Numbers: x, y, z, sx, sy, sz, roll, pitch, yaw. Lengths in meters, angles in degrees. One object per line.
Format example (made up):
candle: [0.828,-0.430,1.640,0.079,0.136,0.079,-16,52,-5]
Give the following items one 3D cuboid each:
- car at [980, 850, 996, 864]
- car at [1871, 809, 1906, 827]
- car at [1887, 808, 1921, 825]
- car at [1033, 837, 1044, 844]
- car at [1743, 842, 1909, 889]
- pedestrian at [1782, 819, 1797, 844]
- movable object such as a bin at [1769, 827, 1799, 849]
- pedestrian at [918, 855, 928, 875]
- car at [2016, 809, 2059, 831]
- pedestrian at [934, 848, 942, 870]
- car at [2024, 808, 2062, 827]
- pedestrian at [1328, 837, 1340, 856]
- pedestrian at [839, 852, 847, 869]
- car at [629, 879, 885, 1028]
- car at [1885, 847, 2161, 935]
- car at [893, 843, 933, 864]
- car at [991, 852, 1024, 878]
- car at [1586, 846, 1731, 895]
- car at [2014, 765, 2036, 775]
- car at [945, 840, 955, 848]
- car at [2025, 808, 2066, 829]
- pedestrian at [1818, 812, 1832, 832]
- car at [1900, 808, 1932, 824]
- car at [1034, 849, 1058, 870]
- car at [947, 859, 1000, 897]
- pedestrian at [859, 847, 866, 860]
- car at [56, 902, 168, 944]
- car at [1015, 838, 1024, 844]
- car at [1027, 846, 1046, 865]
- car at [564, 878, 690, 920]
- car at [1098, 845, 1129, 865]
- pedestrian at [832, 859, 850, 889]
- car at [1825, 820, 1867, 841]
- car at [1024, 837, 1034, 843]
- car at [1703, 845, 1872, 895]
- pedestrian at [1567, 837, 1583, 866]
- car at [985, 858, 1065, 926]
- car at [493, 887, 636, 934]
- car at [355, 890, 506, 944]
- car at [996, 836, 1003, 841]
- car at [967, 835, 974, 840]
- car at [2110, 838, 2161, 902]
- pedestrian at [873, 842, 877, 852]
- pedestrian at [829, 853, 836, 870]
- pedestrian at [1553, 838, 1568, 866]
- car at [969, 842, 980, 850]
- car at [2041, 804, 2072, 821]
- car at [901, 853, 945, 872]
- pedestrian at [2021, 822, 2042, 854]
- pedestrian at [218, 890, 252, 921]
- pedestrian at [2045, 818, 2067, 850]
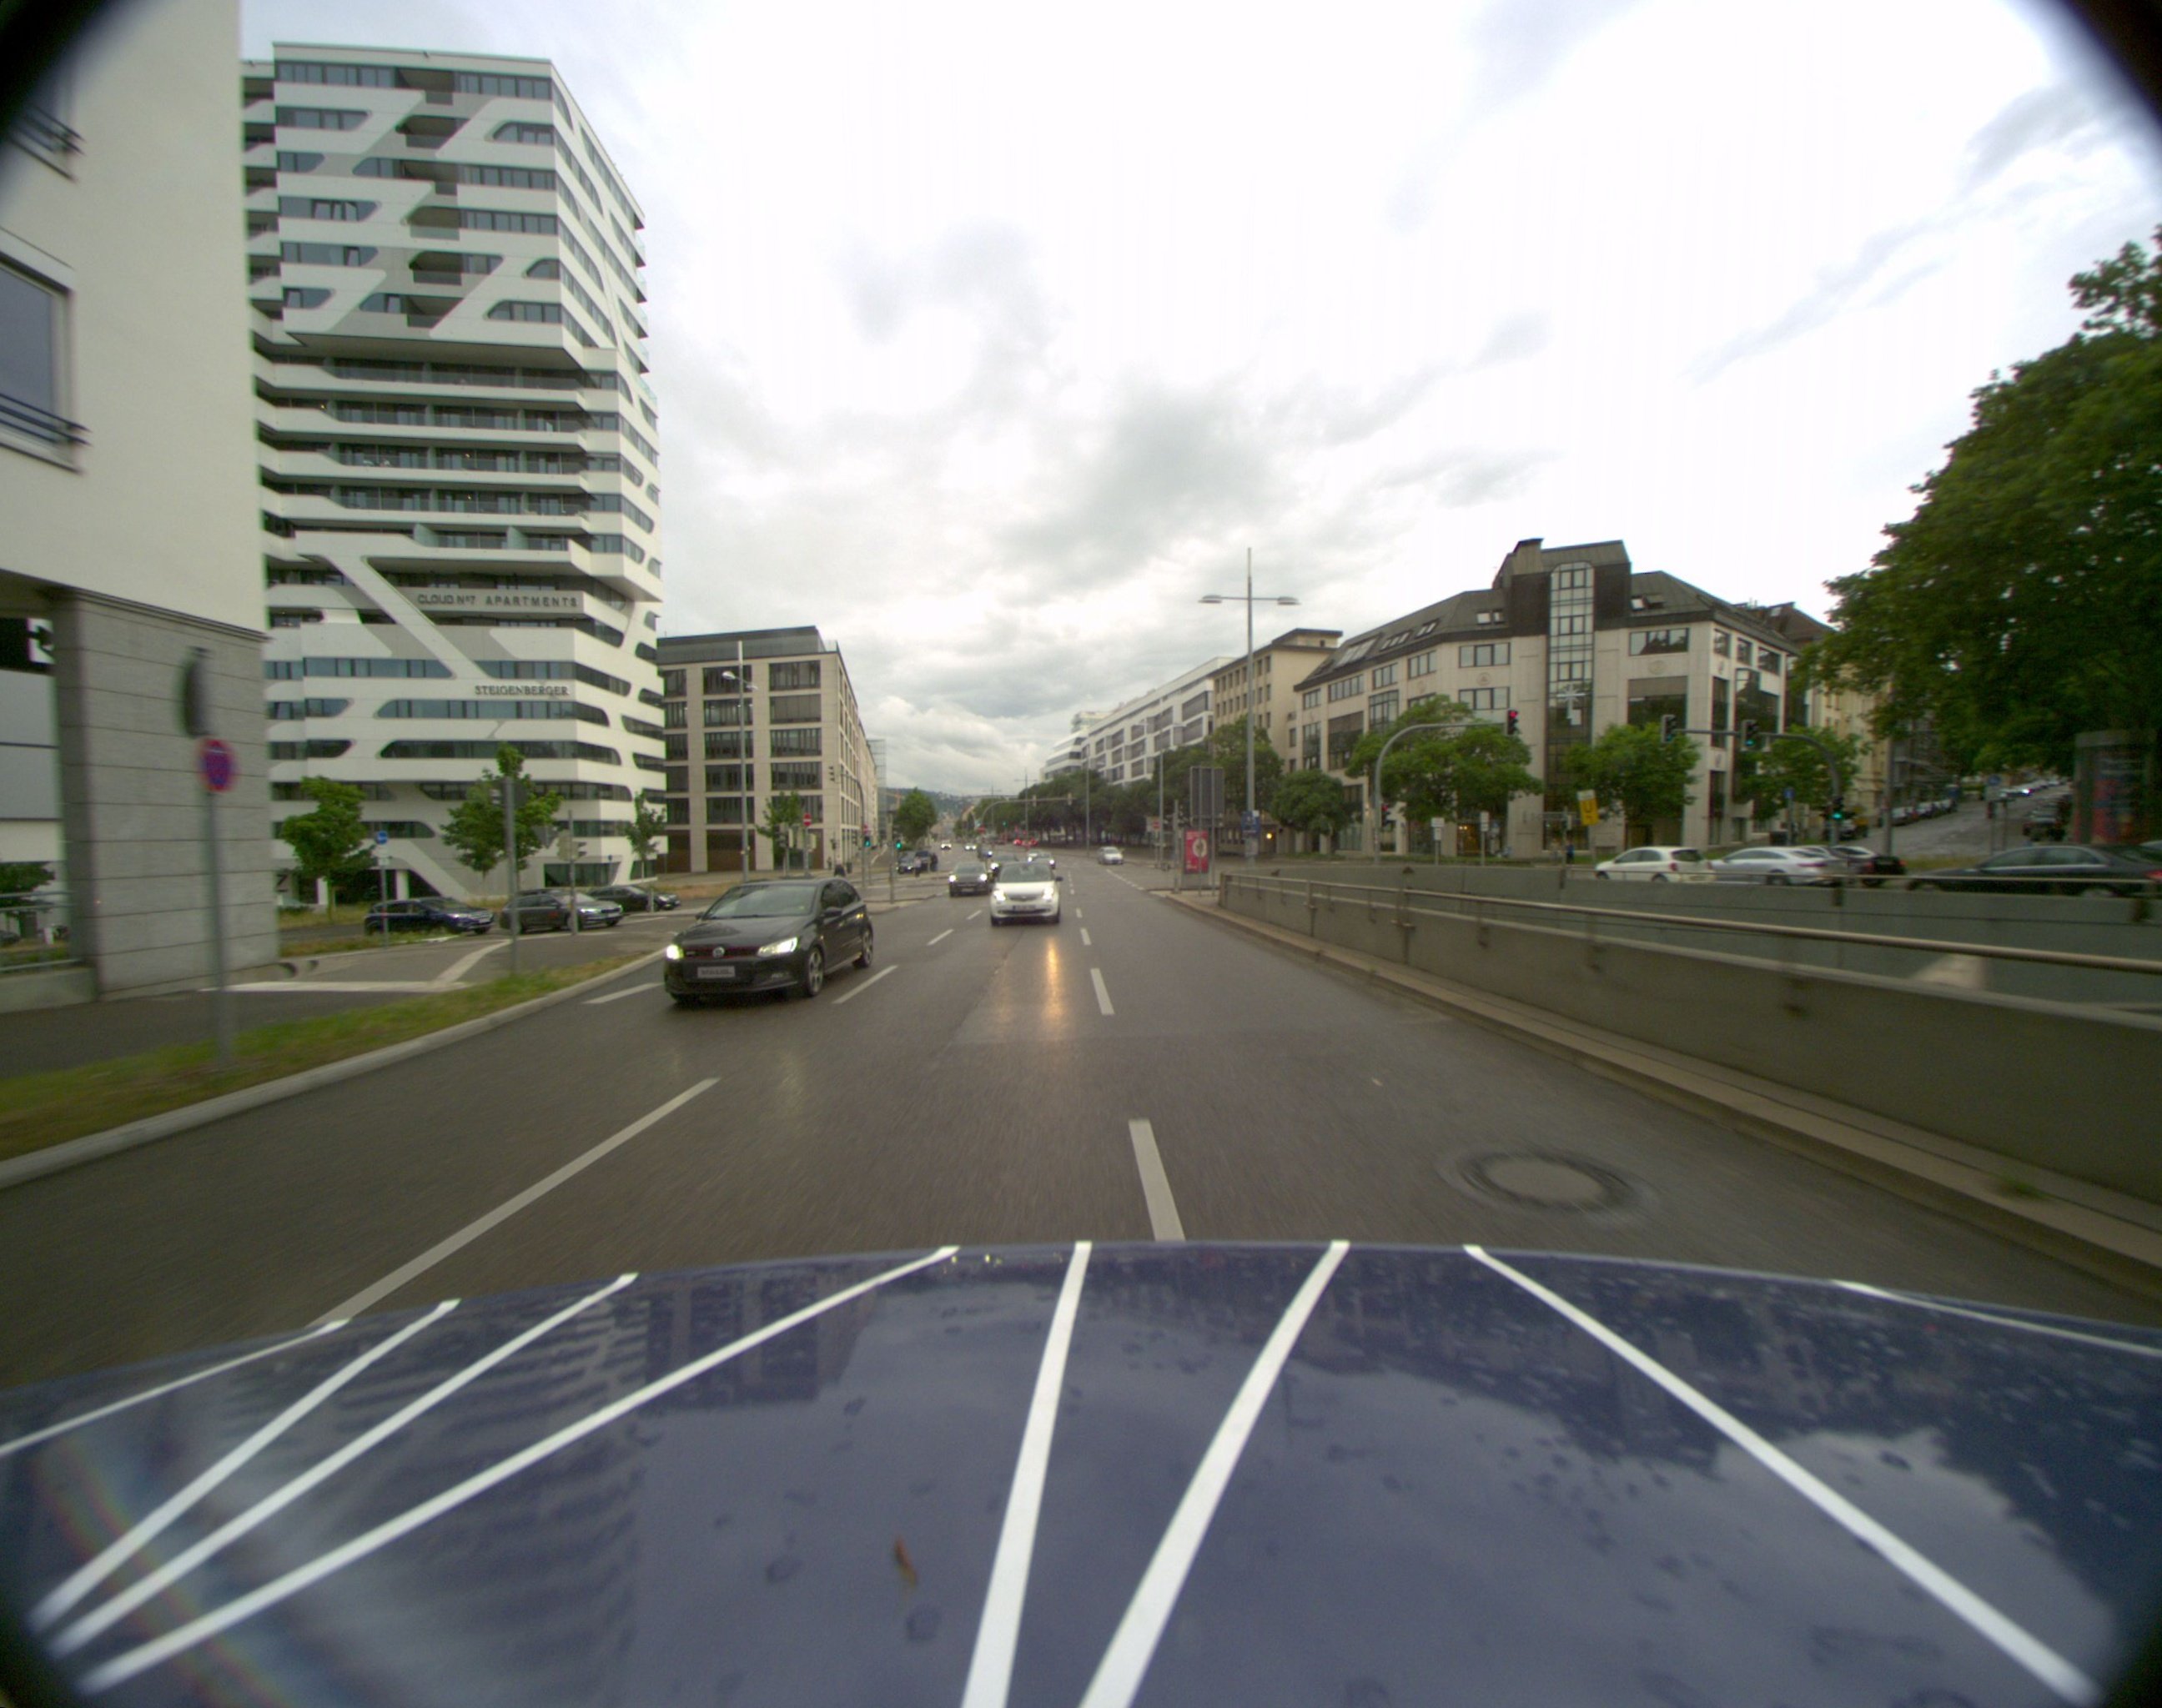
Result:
car: [-13.650,0.364,111.044,1.801,1.934,3.995,-3,1,-13]
car: [75.998,-3.390,71.508,4.006,1.502,1.795,-3,1,-36]
car: [80.683,-3.643,74.493,4.006,1.502,1.795,-3,1,-36]
car: [-10.423,-3.241,185.840,1.801,1.502,3.995,-3,1,-13]
car: [26.042,0.406,26.775,1.799,1.501,3.999,0,-1,-3]
pedestrian: [57.943,-1.809,62.121,0.748,2.002,0.754,-3,1,-36]
movable object such as a bin: [50.383,-1.123,54.459,1.352,1.499,1.071,-1,1,28]
pedestrian: [-11.771,0.815,56.575,0.588,1.469,0.603,-3,2,-22]
car: [70.465,-2.511,55.943,3.497,1.454,1.606,-3,2,-32]
pedestrian: [-12.228,0.426,64.855,0.604,1.792,0.587,-3,2,-9]
car: [81.108,-3.104,64.065,3.497,1.454,1.606,-3,2,-32]
pedestrian: [24.668,-0.761,74.077,0.835,1.774,0.615,-3,2,-9]
pedestrian: [-22.862,0.665,72.913,0.588,1.600,0.603,-3,2,-15]
car: [-3.987,1.138,10.114,1.678,1.391,3.848,-2,1,0]
car: [20.404,0.653,15.942,1.799,1.548,4.833,-1,1,-3]
car: [-16.033,-0.082,72.773,1.796,1.851,4.296,-2,1,17]
car: [-5.197,0.738,54.133,1.799,1.657,3.999,-3,1,1]
car: [20.025,0.505,26.593,1.800,1.552,3.997,-1,1,-6]
car: [173.235,-15.384,139.396,4.005,1.502,1.796,-3,1,-29]
car: [-28.337,-2.119,164.017,1.801,1.502,3.995,-3,1,-13]
car: [75.624,-2.794,59.579,3.497,1.454,1.606,-3,2,-32]
pedestrian: [63.912,-2.738,65.297,0.651,1.652,0.649,-3,2,-28]
car: [85.089,-3.882,77.438,4.006,1.502,1.795,-3,1,-36]
car: [-2.990,0.462,65.983,1.799,1.657,3.999,-2,1,1]
car: [-4.753,1.041,34.126,1.751,1.433,3.706,-3,1,1]
pedestrian: [-24.554,-0.076,85.285,0.588,1.469,0.603,-3,2,-22]
car: [-63.898,4.536,50.175,4.499,2.366,1.798,-2,1,-8]
car: [-17.115,-3.641,210.721,1.801,1.502,3.995,-3,1,-13]
car: [-4.930,0.155,84.503,1.799,2.021,3.999,-3,1,-1]
car: [-20.679,2.033,34.775,4.483,1.383,1.855,-4,2,-3]
car: [3.001,0.074,71.486,1.801,1.733,3.995,-3,1,-13]
pedestrian: [-13.127,1.091,41.582,0.707,1.615,0.644,-2,2,1]
car: [61.778,-1.914,61.354,4.006,1.502,1.795,-3,1,-36]
car: [-13.180,-3.563,193.688,1.801,1.502,3.995,-3,1,-13]
car: [23.268,0.465,25.258,1.799,1.501,3.998,-1,1,-3]
pedestrian: [31.931,-0.165,49.095,0.590,1.799,0.674,-2,2,5]
car: [-1.355,0.896,19.910,1.799,1.528,3.999,-1,0,-1]
car: [-19.308,2.109,28.470,4.477,1.382,1.858,-4,1,15]
car: [-25.617,2.462,30.007,4.480,1.658,1.857,-4,0,6]
car: [-25.608,-4.988,238.816,1.801,1.502,3.995,-3,1,-13]
car: [-36.781,-5.504,253.593,1.801,1.502,3.995,-3,1,-13]
car: [26.689,0.343,17.027,1.799,1.501,3.942,-3,-1,-3]
pedestrian: [-33.837,-1.151,124.871,0.588,1.469,0.603,-3,2,-14]
pedestrian: [-23.834,0.672,72.911,0.588,1.600,0.603,-3,2,-15]
pedestrian: [31.103,-0.131,49.292,0.590,1.799,0.674,-2,2,5]
car: [-21.597,-1.530,153.652,1.801,1.502,3.995,-3,1,-13]
car: [90.739,-3.829,70.668,3.498,1.454,1.606,-3,2,-35]
car: [-13.911,0.750,67.010,1.796,1.502,4.005,-2,1,21]
pedestrian: [54.405,-0.900,43.475,0.632,1.799,0.675,-1,2,41]
pedestrian: [-58.288,3.541,52.363,1.095,2.002,0.972,-3,2,-7]
pedestrian: [55.028,-1.125,42.885,0.632,1.799,0.675,-1,2,41]
